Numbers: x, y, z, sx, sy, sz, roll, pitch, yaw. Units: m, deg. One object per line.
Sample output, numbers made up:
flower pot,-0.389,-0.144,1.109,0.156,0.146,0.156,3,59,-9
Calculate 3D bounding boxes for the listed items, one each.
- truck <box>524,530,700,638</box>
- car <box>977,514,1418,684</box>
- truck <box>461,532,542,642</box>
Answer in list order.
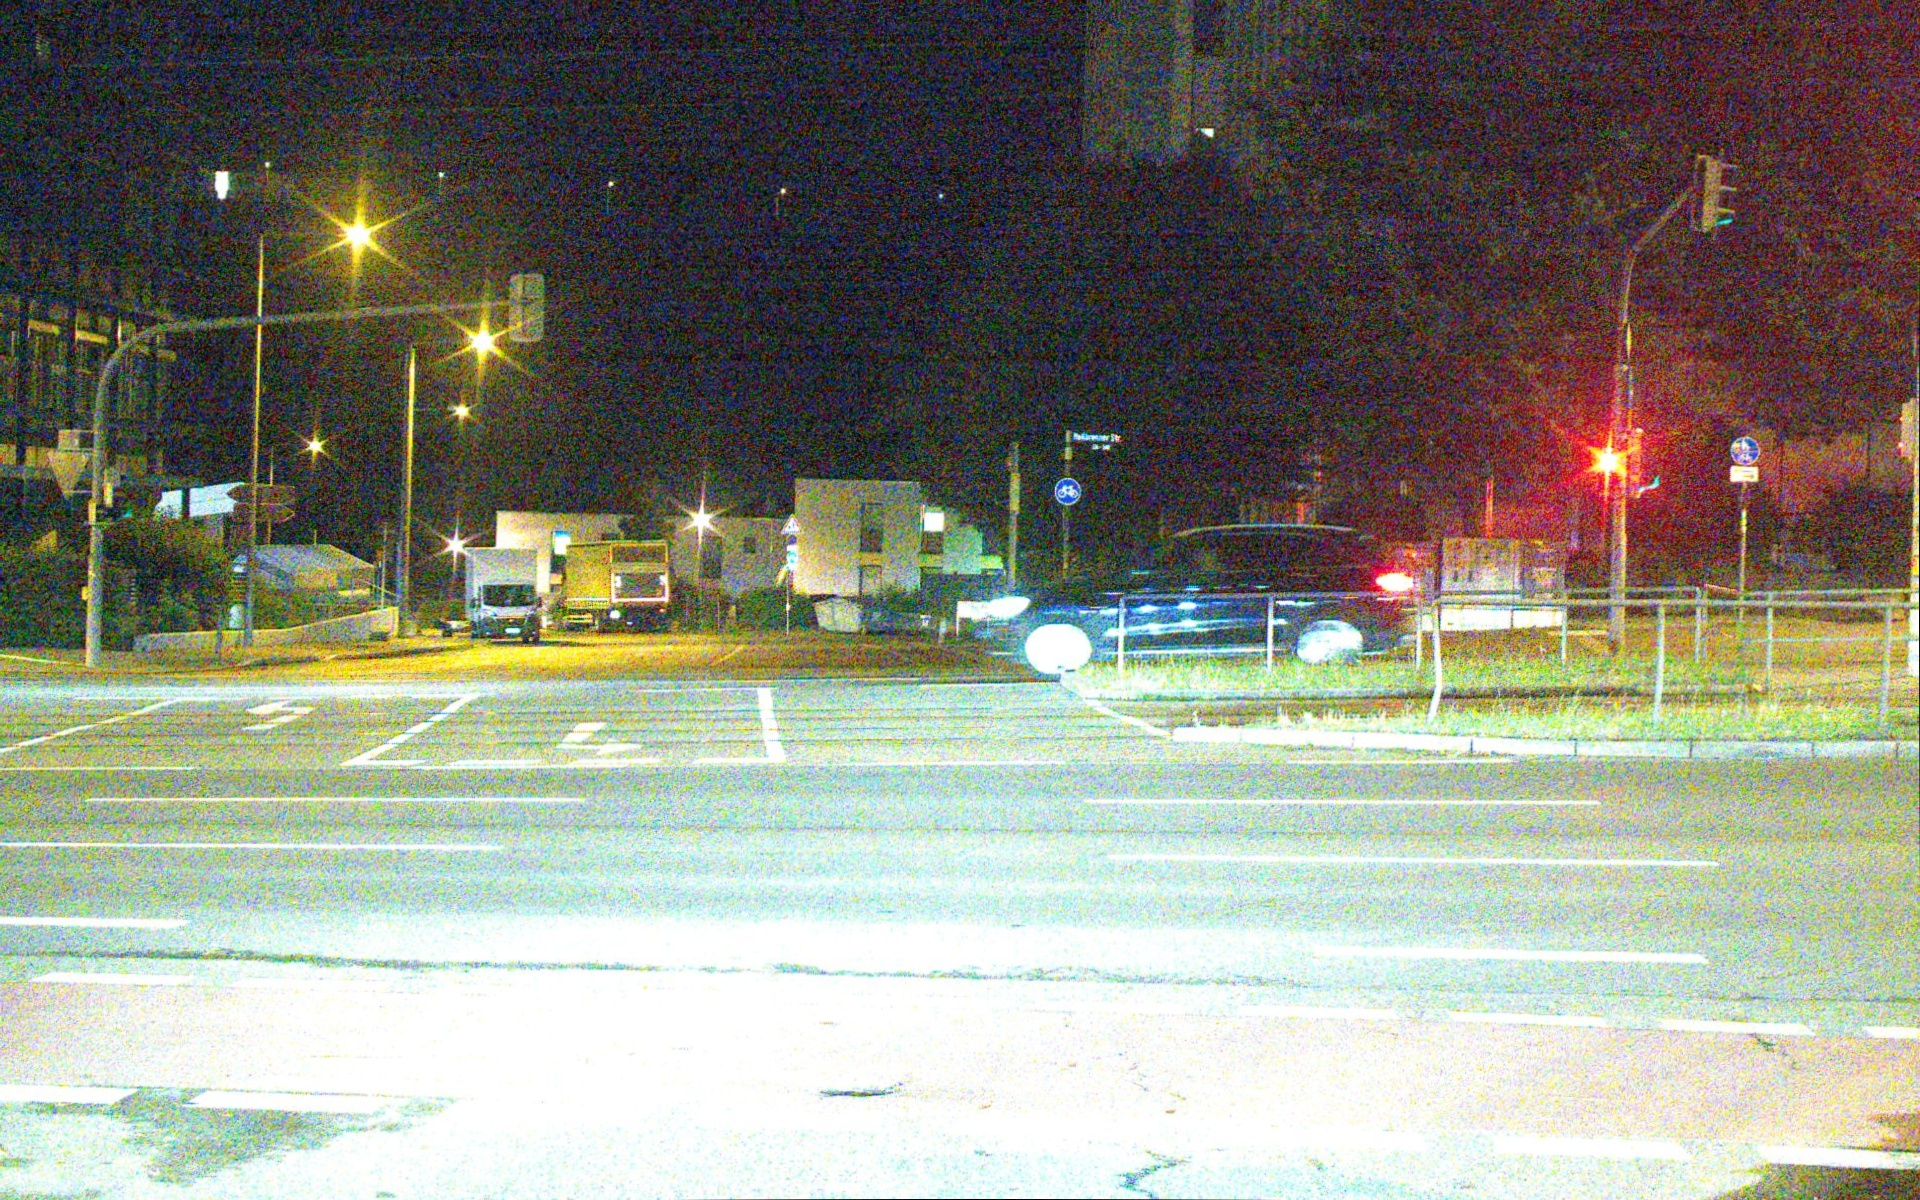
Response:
truck,-15.453,-0.758,151.233,4.821,4.531,12.669,1,1,-19
car,2.550,-0.026,37.227,4.618,1.722,2.000,1,0,3
truck,-15.946,-0.468,119.264,2.582,3.694,5.739,1,1,-9
